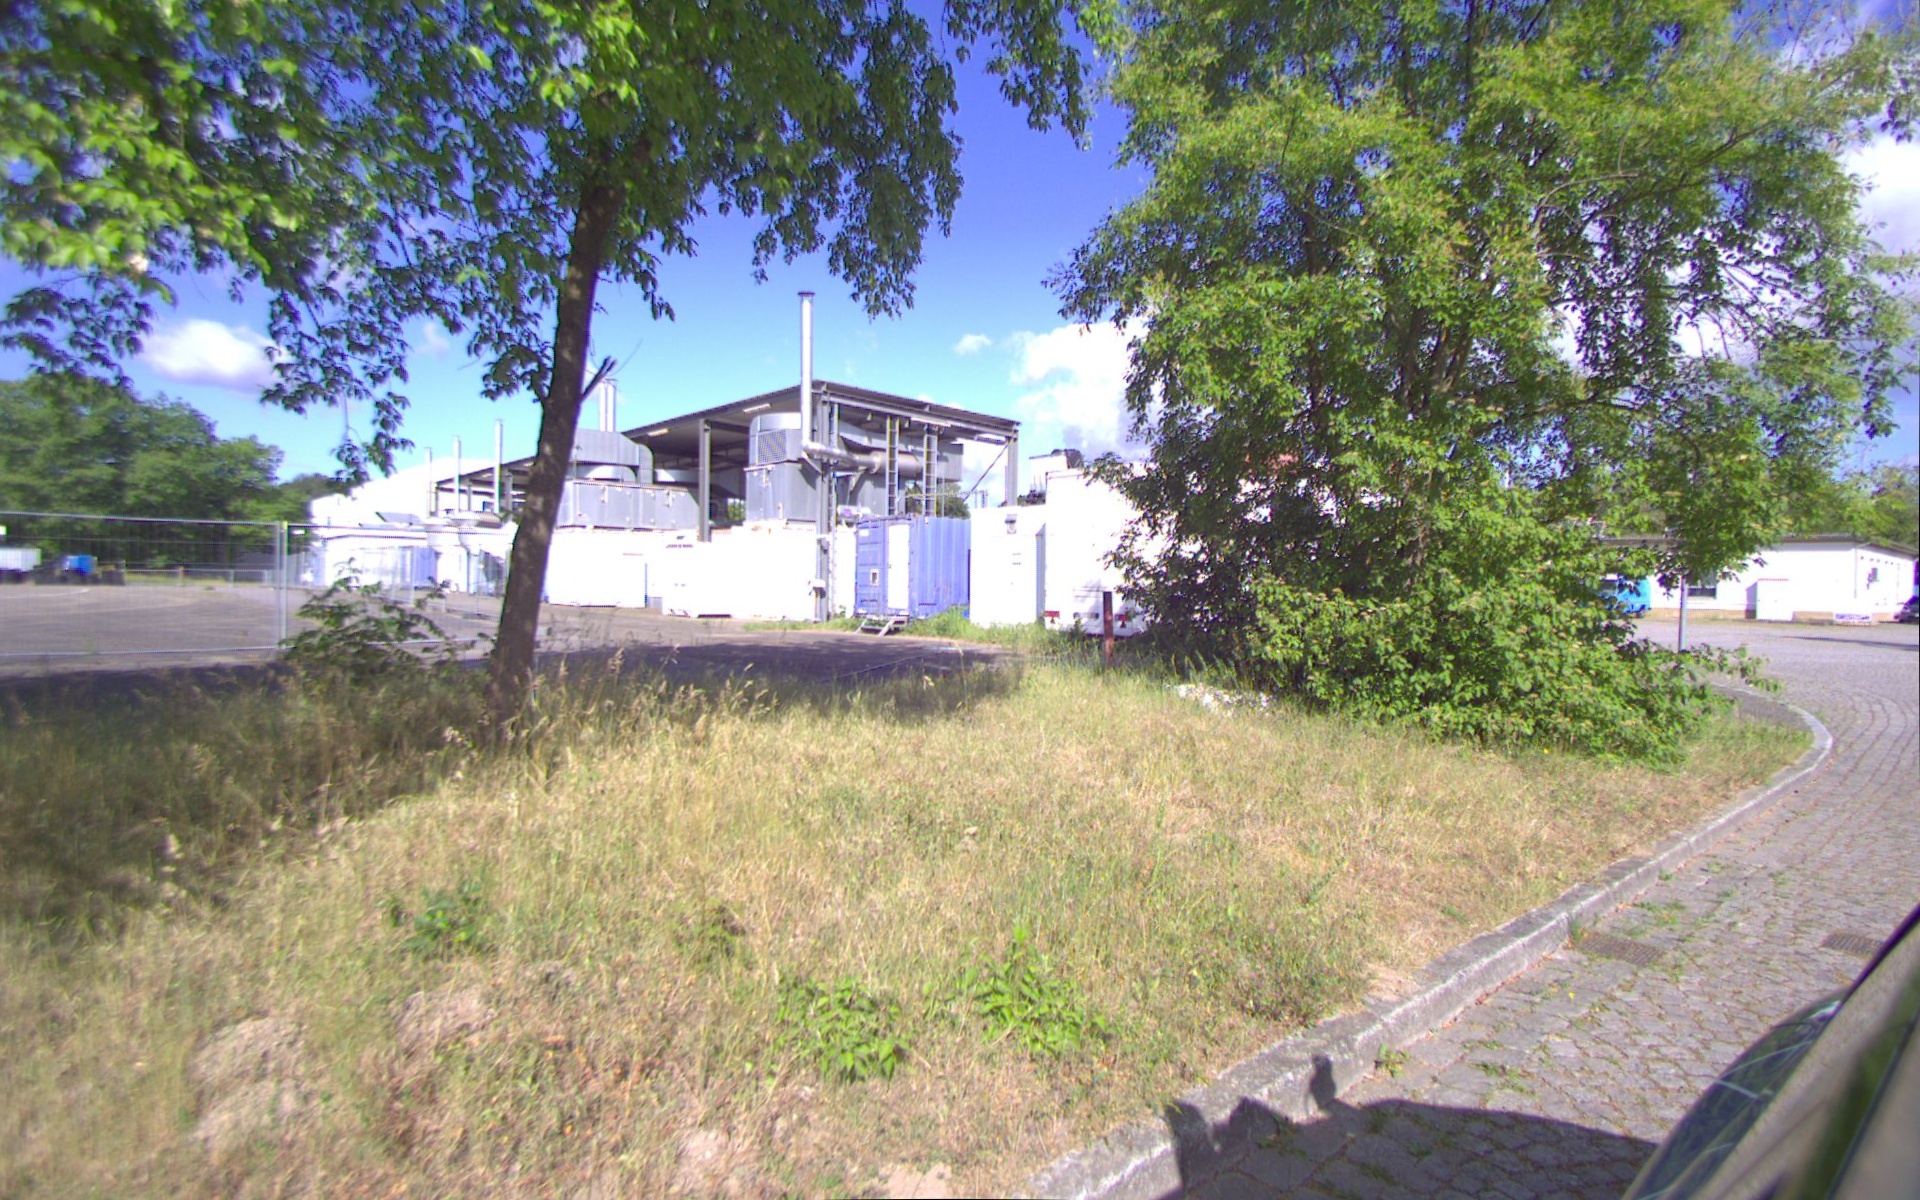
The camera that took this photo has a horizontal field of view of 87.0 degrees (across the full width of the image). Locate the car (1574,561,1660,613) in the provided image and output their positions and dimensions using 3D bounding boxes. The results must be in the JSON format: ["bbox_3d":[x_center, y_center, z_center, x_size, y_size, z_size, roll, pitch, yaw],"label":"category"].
[{"bbox_3d":[33.493,-0.679,51.574,5.143,2.514,2.088,0,1,-38],"label":"car"}]

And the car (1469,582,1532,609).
[{"bbox_3d":[29.795,-0.238,55.785,3.762,1.416,1.691,0,2,-38],"label":"car"}]

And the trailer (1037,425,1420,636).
[{"bbox_3d":[6.637,-1.354,23.416,10.689,3.959,2.779,0,1,-39],"label":"trailer"}]

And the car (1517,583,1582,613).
[{"bbox_3d":[30.883,-0.127,53.017,3.671,1.423,1.736,-2,2,-38],"label":"car"}]

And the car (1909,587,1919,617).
[{"bbox_3d":[49.144,0.107,50.757,3.921,1.453,1.767,0,2,-40],"label":"car"}]
